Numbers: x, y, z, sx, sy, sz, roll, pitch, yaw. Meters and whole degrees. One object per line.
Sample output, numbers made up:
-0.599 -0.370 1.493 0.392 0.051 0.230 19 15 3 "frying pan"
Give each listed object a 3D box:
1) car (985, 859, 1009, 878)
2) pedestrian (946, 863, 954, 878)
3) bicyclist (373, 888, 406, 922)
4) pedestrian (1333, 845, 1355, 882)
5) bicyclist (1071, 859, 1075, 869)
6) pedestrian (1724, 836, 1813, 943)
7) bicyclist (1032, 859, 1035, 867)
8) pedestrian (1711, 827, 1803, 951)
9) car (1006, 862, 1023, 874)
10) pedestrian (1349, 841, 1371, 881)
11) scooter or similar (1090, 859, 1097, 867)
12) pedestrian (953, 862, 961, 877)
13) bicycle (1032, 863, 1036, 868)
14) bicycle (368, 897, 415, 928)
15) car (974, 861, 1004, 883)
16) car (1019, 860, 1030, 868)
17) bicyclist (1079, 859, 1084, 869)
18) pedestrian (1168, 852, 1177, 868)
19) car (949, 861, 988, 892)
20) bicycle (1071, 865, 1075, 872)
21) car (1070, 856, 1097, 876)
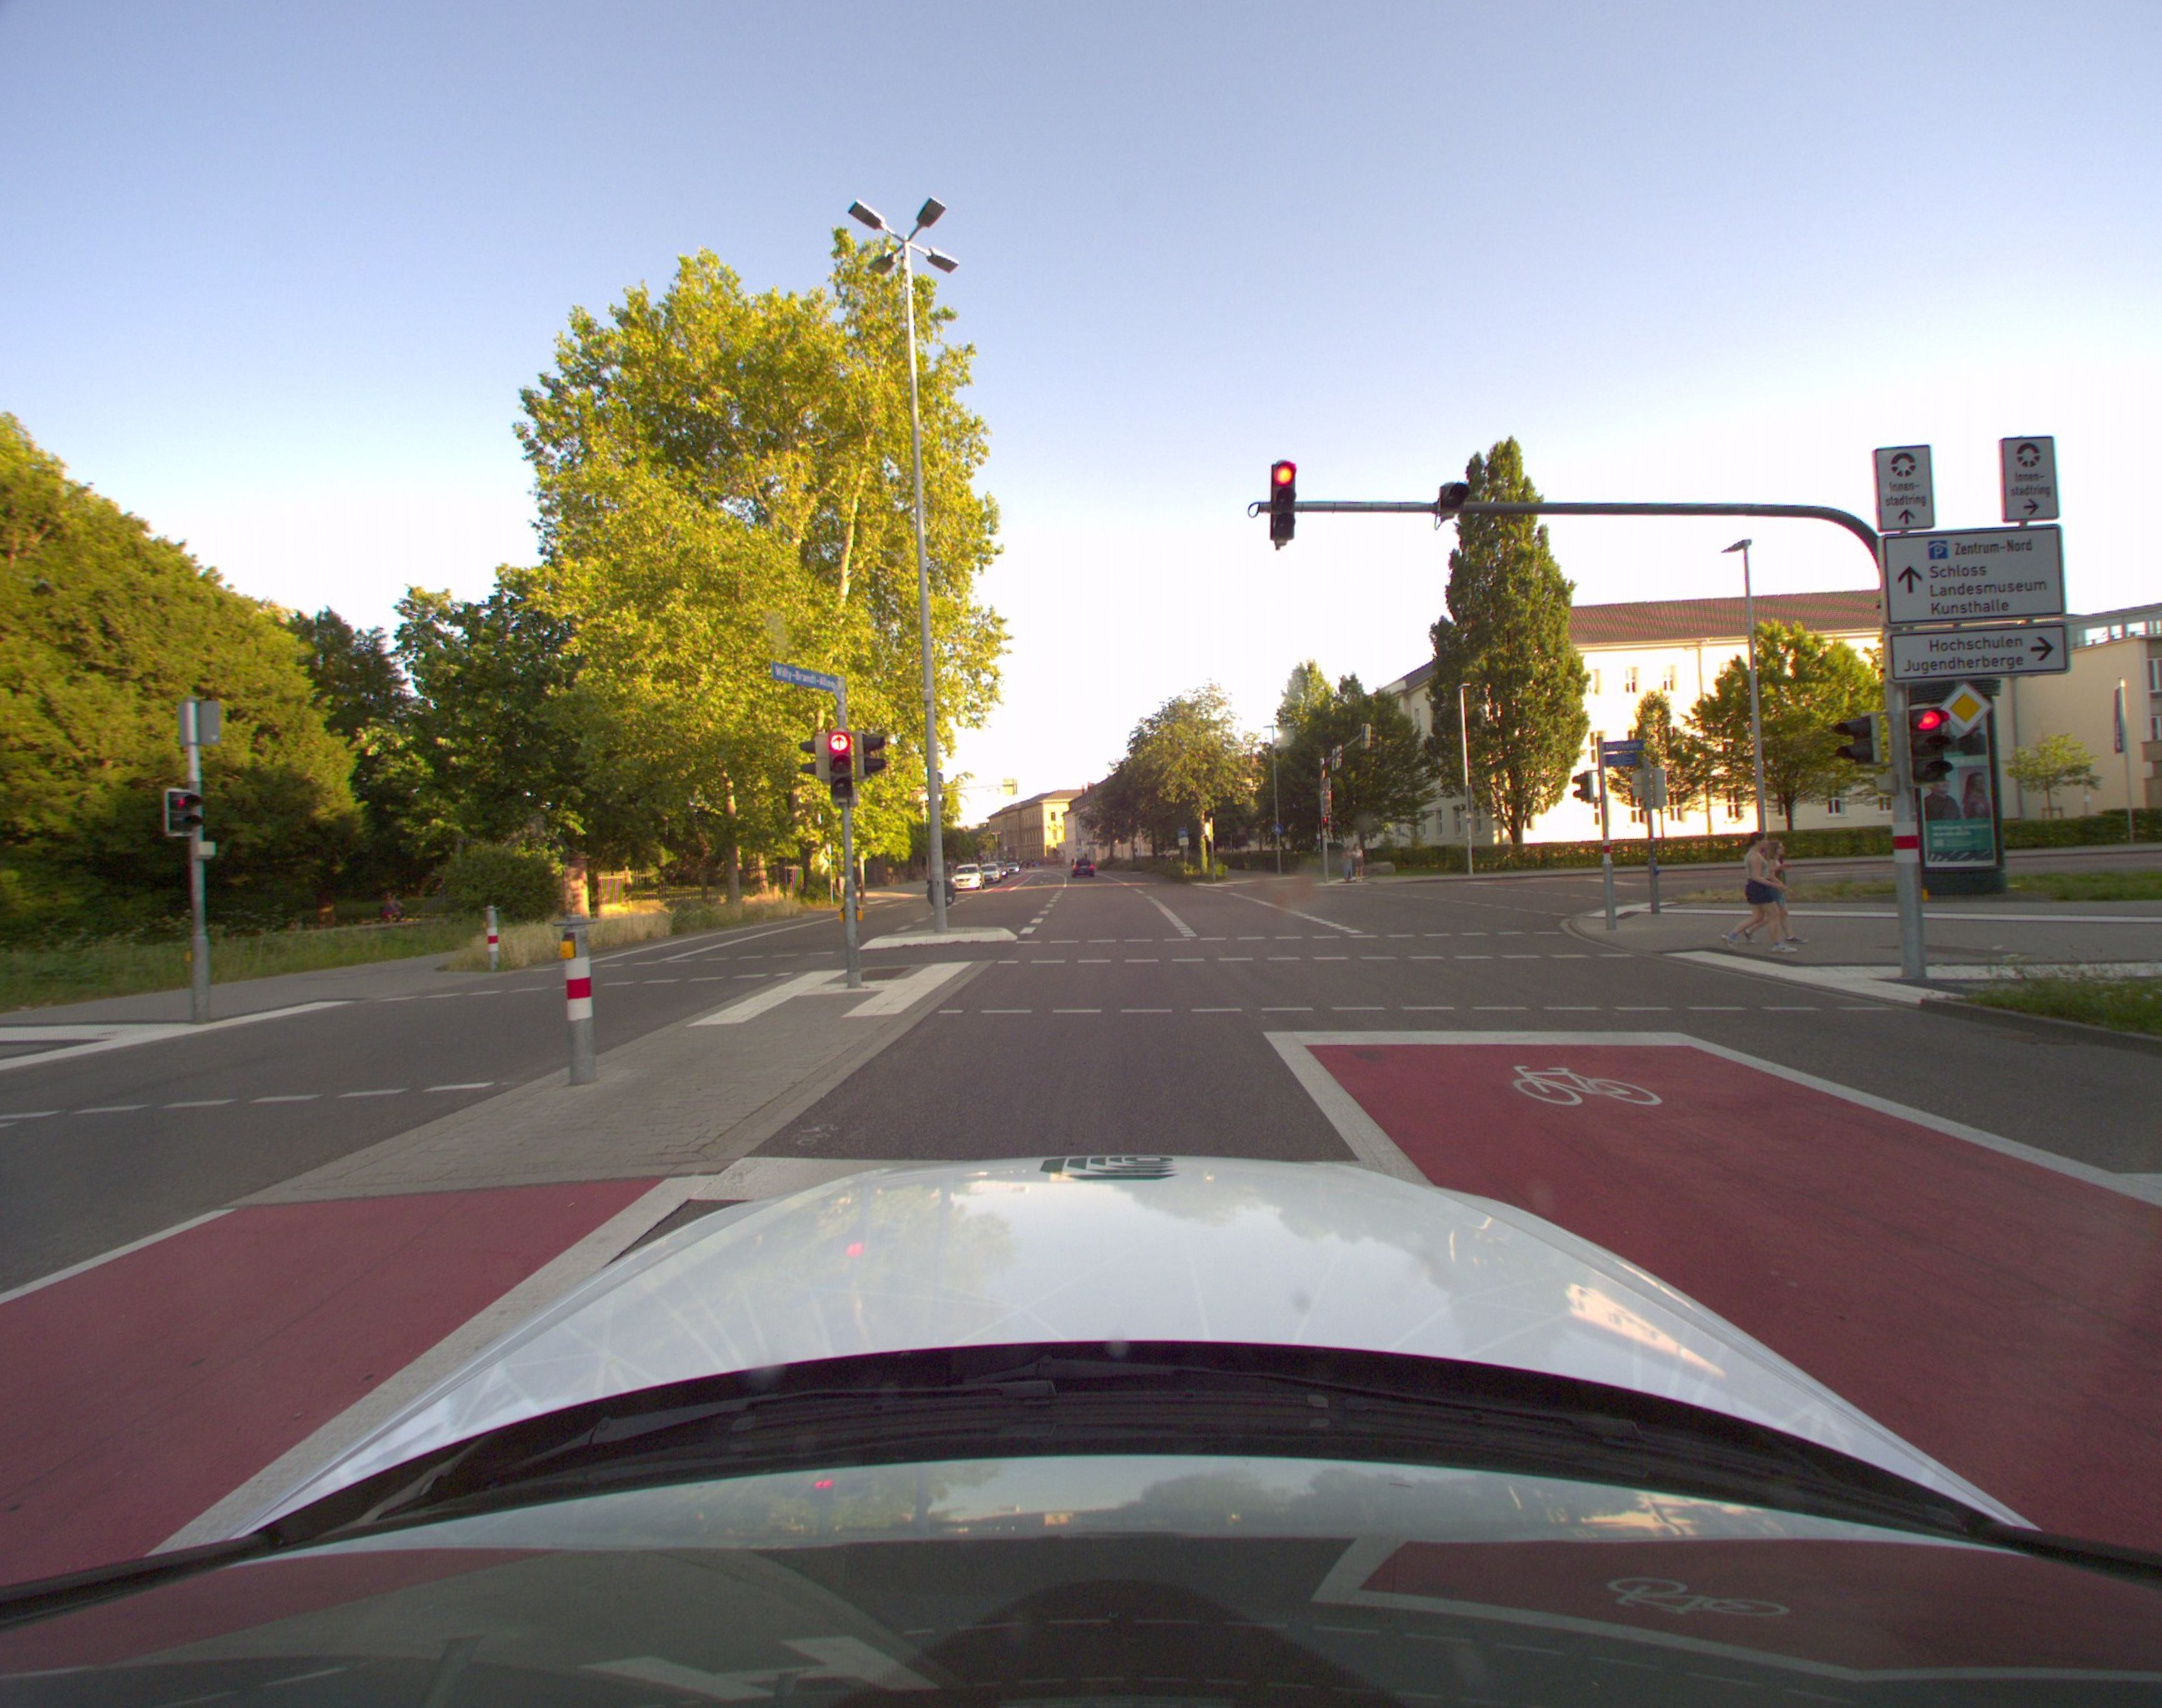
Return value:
-8.069 1.393 78.317 1.912 1.624 4.635 -5 0 -2 "car"
-14.286 1.765 88.671 0.678 1.622 0.689 -3 0 1 "pedestrian"
-30.275 2.243 35.660 0.881 1.427 0.796 -3 -1 26 "bicyclist"
11.864 0.423 36.720 0.678 1.622 0.845 -3 0 1 "pedestrian"
-1.114 1.369 112.990 0.650 1.446 0.879 0 -1 -1 "bicyclist"
10.162 0.518 12.075 0.779 1.523 0.741 -3 -1 25 "pedestrian"
-10.233 1.888 175.656 0.651 1.698 0.954 0 -1 -8 "bicyclist"
9.441 0.484 11.410 0.767 1.660 0.725 -3 -1 25 "pedestrian"
-8.445 1.773 103.914 1.912 1.417 4.766 -5 0 -2 "car"
12.573 0.330 36.722 0.678 1.754 0.689 -3 0 1 "pedestrian"
2.239 1.557 145.505 0.630 1.337 2.390 -2 -1 -12 "scooter or similar"
-13.488 1.653 88.459 0.678 1.622 0.689 -3 0 1 "pedestrian"
-10.186 2.510 175.345 0.651 1.015 2.192 0 -1 -8 "bicycle"
-30.174 2.550 35.610 1.955 1.256 0.796 -3 -1 25 "bicycle"
-7.241 1.398 64.577 1.912 1.583 4.670 -5 0 -2 "car"
-11.901 2.131 170.550 1.915 1.417 4.756 -5 0 -8 "car"
0.032 1.419 114.046 0.650 1.475 0.940 0 -1 -1 "bicyclist"
9.925 0.666 88.460 0.769 1.739 0.805 -3 0 -8 "pedestrian"
-7.168 1.404 52.102 1.912 1.695 4.422 -5 0 -2 "car"
-1.116 1.984 113.013 0.650 1.015 2.197 0 -1 -1 "bicycle"
0.151 0.985 66.314 1.864 1.510 3.994 -3 0 -4 "car"
